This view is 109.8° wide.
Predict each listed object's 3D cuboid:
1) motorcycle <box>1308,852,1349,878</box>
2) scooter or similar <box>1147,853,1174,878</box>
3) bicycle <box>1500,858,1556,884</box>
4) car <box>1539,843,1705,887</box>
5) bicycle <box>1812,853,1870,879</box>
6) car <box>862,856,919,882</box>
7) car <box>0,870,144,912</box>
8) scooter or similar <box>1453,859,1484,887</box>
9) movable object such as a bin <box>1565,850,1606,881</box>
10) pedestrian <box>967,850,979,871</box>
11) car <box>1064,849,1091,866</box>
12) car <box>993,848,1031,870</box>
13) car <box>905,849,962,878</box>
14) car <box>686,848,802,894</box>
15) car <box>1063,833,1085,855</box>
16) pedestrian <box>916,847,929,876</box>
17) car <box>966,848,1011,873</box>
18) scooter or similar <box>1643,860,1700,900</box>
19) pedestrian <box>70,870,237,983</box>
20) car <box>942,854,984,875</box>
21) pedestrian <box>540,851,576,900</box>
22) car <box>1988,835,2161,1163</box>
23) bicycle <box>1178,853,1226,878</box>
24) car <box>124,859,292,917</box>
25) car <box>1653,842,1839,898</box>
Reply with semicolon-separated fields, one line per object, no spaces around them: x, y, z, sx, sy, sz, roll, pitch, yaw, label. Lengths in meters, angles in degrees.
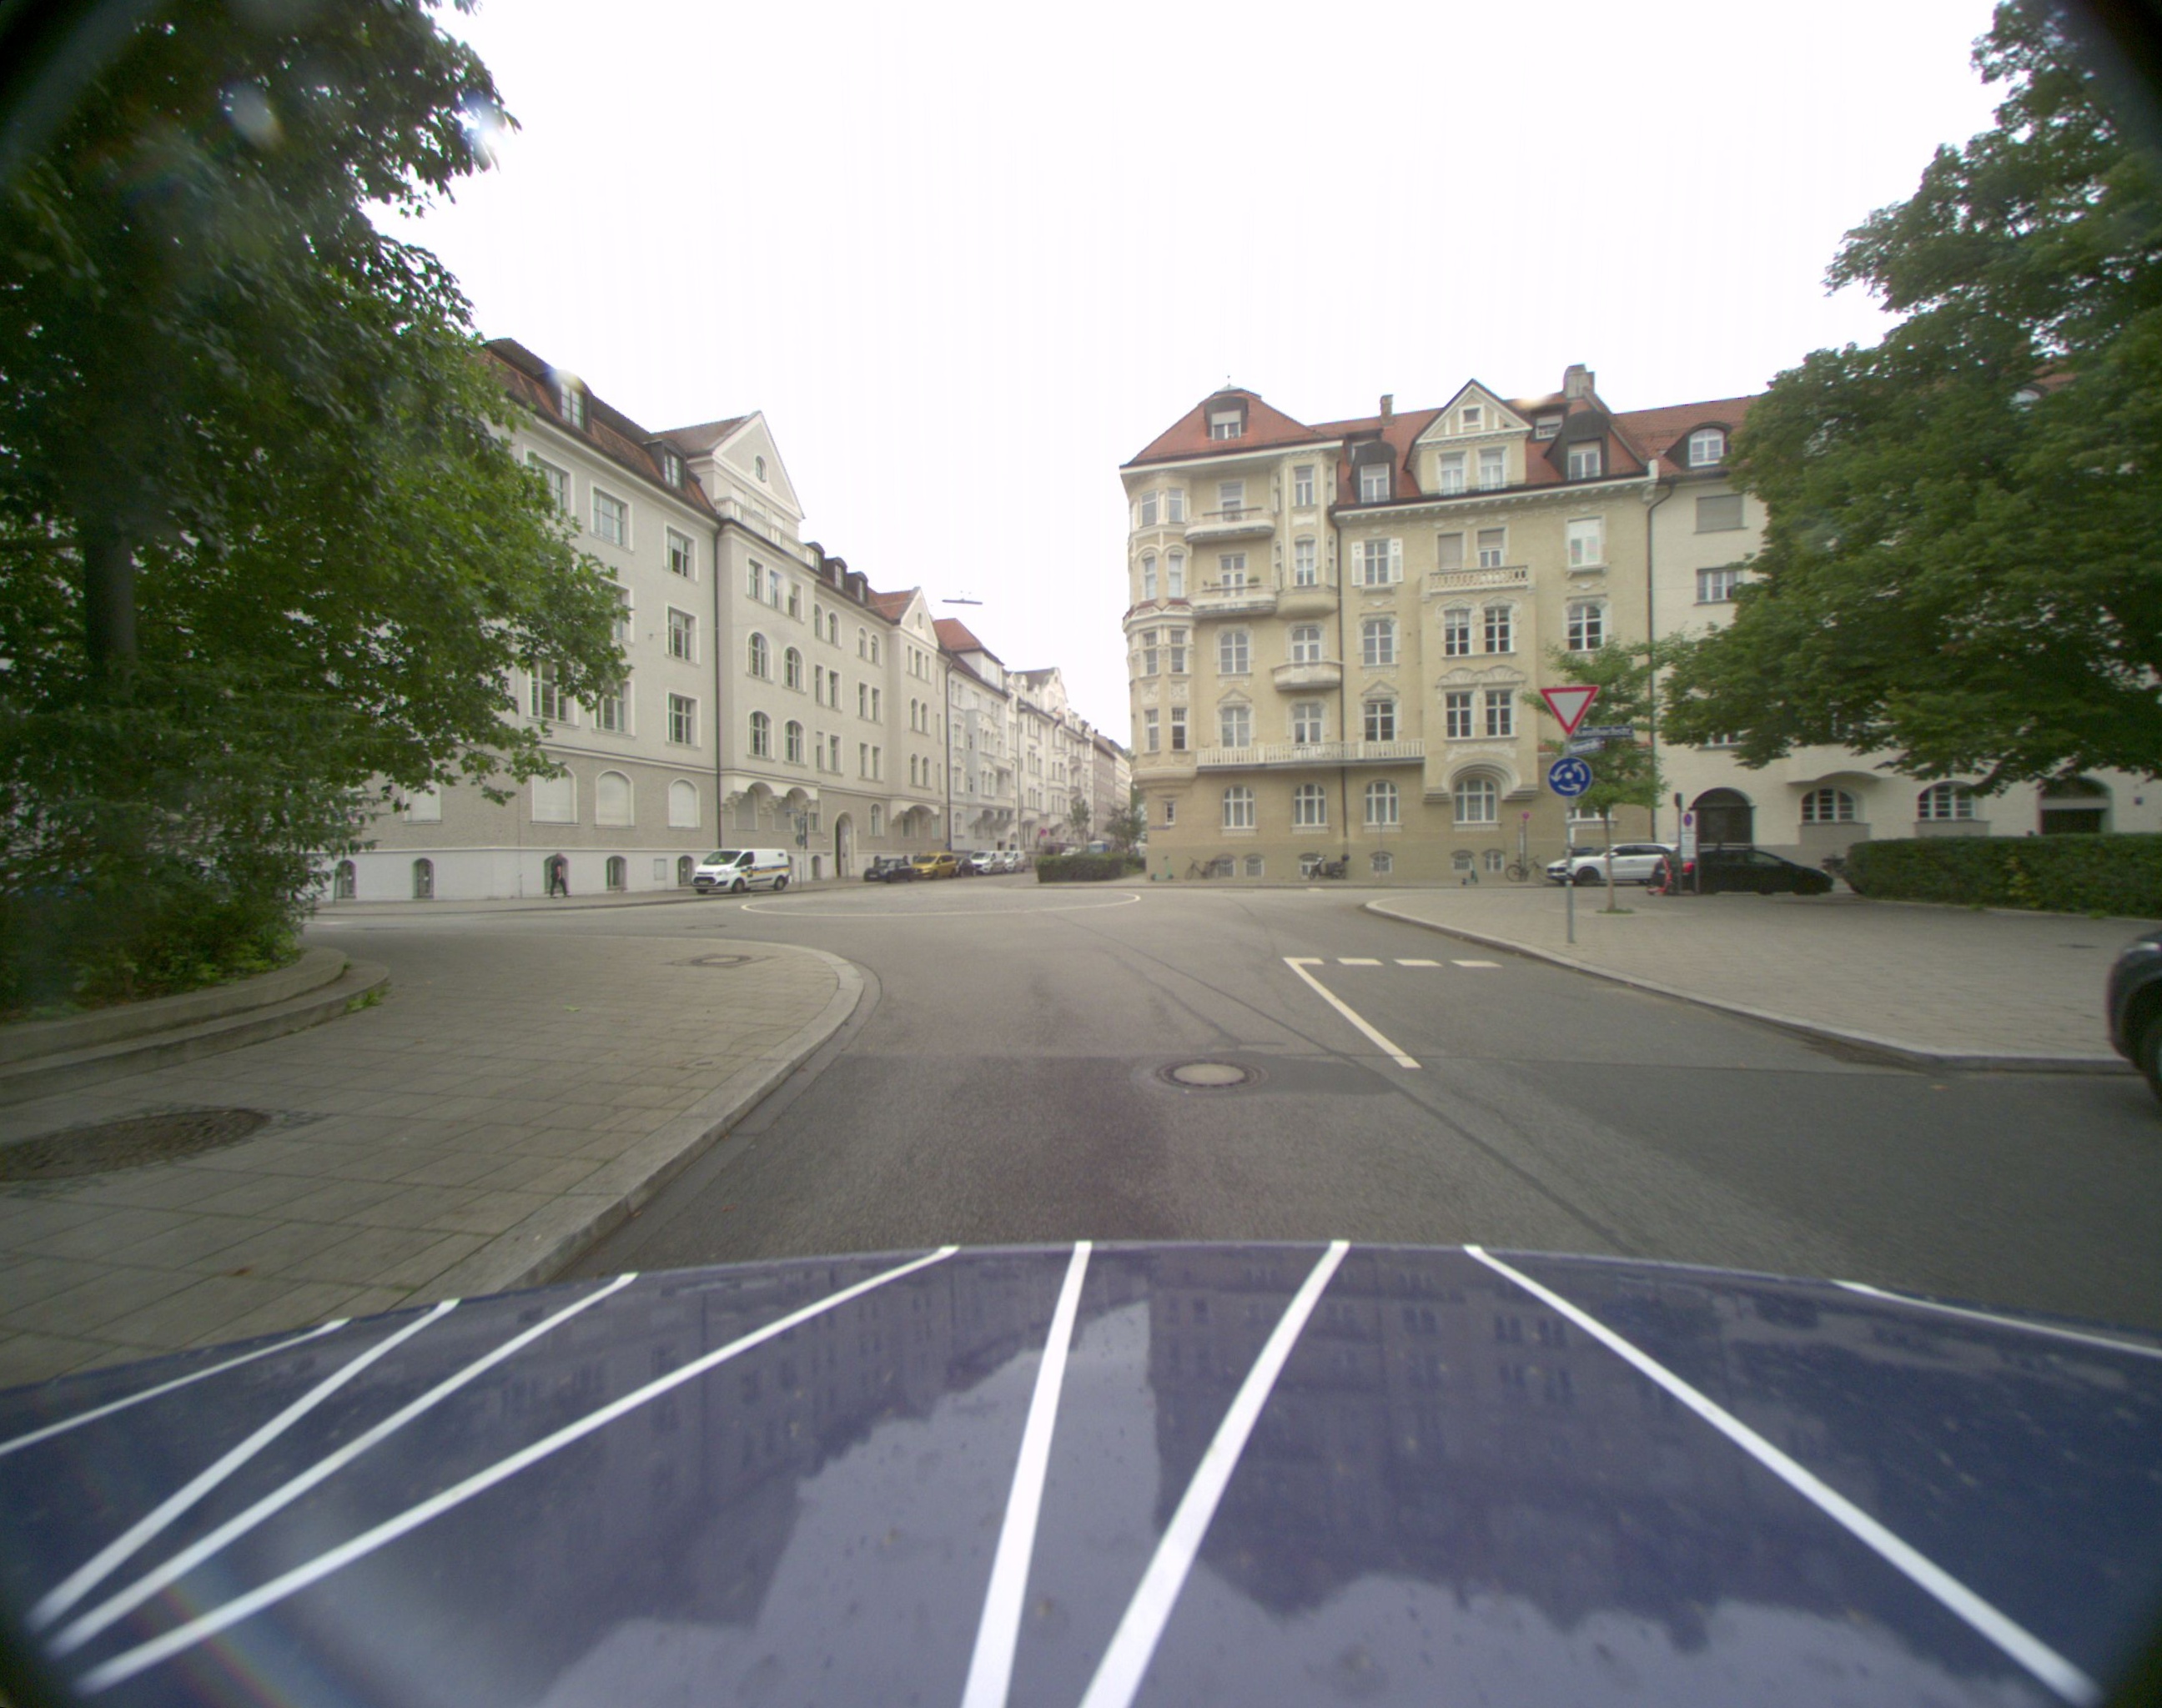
11.811;0.526;36.296;1.743;1.179;0.743;-1;0;9;motorcycle
3.962;0.568;37.958;1.284;1.264;0.459;-1;1;-5;scooter or similar
19.134;0.722;32.516;1.974;1.062;0.654;-1;1;4;bicycle
21.214;0.423;30.016;4.982;1.666;2.002;-1;1;12;car
32.064;0.511;32.064;1.813;1.062;0.551;-1;1;4;bicycle
-11.508;0.884;46.151;1.714;1.437;3.831;-1;0;14;car
-36.992;1.317;27.694;4.243;1.396;1.894;-1;1;13;car
16.146;0.777;31.639;1.349;1.102;0.541;-1;1;-32;scooter or similar
22.405;0.503;33.777;1.178;1.363;1.149;-1;1;15;movable object such as a bin
-9.760;0.601;68.807;0.853;1.892;0.747;0;1;17;pedestrian
-0.316;0.328;77.483;1.917;1.648;4.605;-1;0;11;car
-6.140;0.445;68.439;1.997;1.907;4.882;-1;0;12;car
-9.923;0.596;51.518;1.996;1.907;4.575;-1;0;13;car
-15.018;0.697;34.271;1.941;1.911;5.380;0;0;13;car
-0.799;-1.208;93.410;2.081;2.673;5.447;1;1;6;car
-11.375;0.539;54.553;0.584;2.002;0.728;-1;1;16;pedestrian
-7.517;0.487;62.317;1.996;1.907;4.891;-1;0;13;car
15.968;0.689;20.564;0.528;1.018;1.311;-1;0;1;scooter or similar
-12.038;0.896;9.903;0.770;1.349;1.133;-1;1;15;pedestrian
-8.798;0.758;56.827;1.636;1.505;3.889;-1;0;15;car
-19.646;0.784;28.562;0.931;1.790;0.998;-1;1;-26;pedestrian
6.378;0.757;2.033;2.087;1.709;5.308;-1;0;9;car
6.001;0.577;37.745;2.336;1.196;0.699;-1;0;8;bicycle
-29.167;1.109;25.417;4.243;1.785;1.894;-1;1;13;car
19.075;0.491;21.973;3.670;1.518;1.677;-1;-2;12;car
